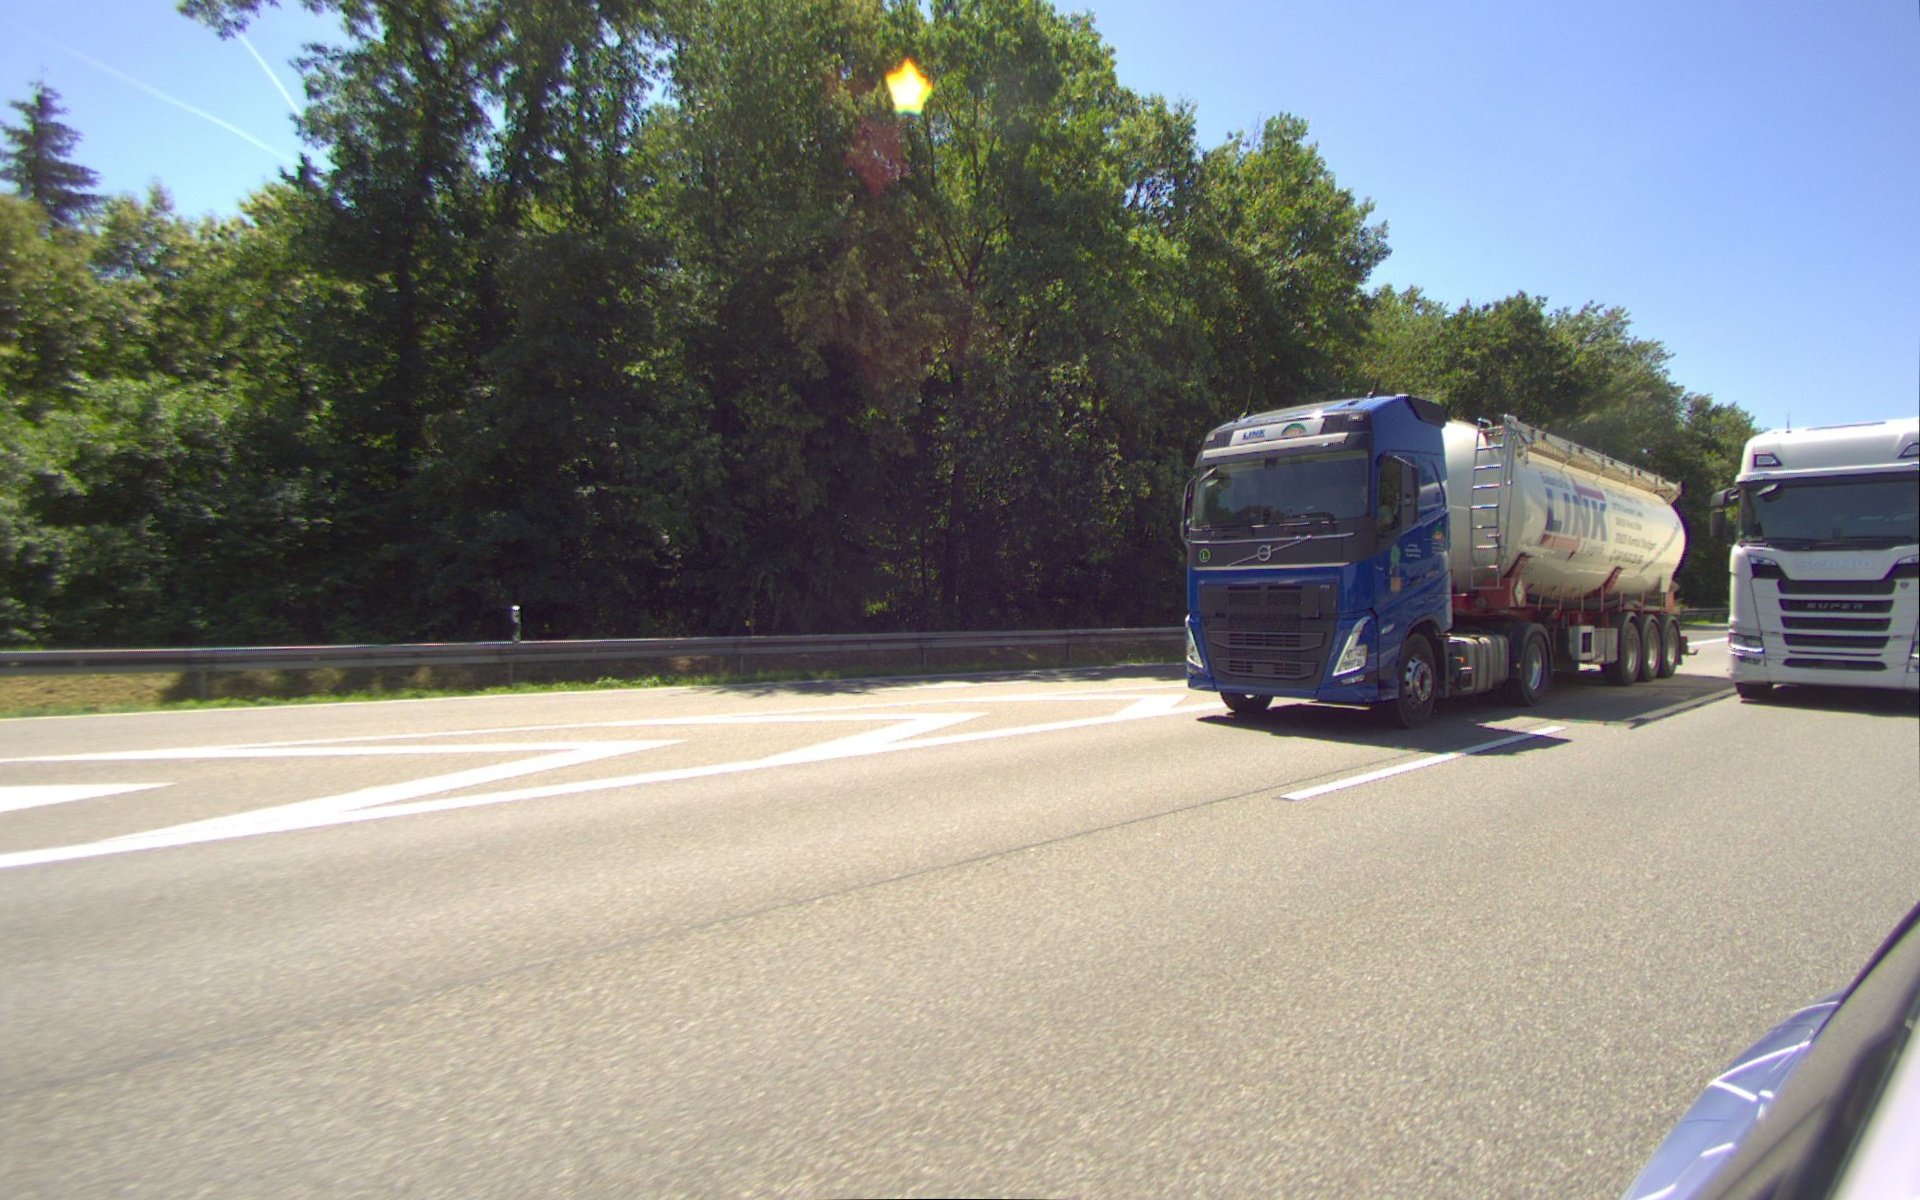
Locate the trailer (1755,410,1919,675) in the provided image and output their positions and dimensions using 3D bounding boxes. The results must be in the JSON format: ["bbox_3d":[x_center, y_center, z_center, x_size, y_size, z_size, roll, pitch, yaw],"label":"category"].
[{"bbox_3d":[19.291,-0.929,20.493,12.144,4.195,3.227,0,1,-43],"label":"trailer"}]

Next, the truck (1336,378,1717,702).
[{"bbox_3d":[10.092,-0.810,17.182,10.360,4.094,2.446,-1,1,-42],"label":"truck"}]

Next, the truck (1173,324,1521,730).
[{"bbox_3d":[4.825,-0.766,12.446,4.001,4.088,2.453,0,0,-42],"label":"truck"}]

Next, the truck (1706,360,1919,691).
[{"bbox_3d":[13.419,-0.947,14.857,4.483,4.210,3.232,0,0,-43],"label":"truck"}]
